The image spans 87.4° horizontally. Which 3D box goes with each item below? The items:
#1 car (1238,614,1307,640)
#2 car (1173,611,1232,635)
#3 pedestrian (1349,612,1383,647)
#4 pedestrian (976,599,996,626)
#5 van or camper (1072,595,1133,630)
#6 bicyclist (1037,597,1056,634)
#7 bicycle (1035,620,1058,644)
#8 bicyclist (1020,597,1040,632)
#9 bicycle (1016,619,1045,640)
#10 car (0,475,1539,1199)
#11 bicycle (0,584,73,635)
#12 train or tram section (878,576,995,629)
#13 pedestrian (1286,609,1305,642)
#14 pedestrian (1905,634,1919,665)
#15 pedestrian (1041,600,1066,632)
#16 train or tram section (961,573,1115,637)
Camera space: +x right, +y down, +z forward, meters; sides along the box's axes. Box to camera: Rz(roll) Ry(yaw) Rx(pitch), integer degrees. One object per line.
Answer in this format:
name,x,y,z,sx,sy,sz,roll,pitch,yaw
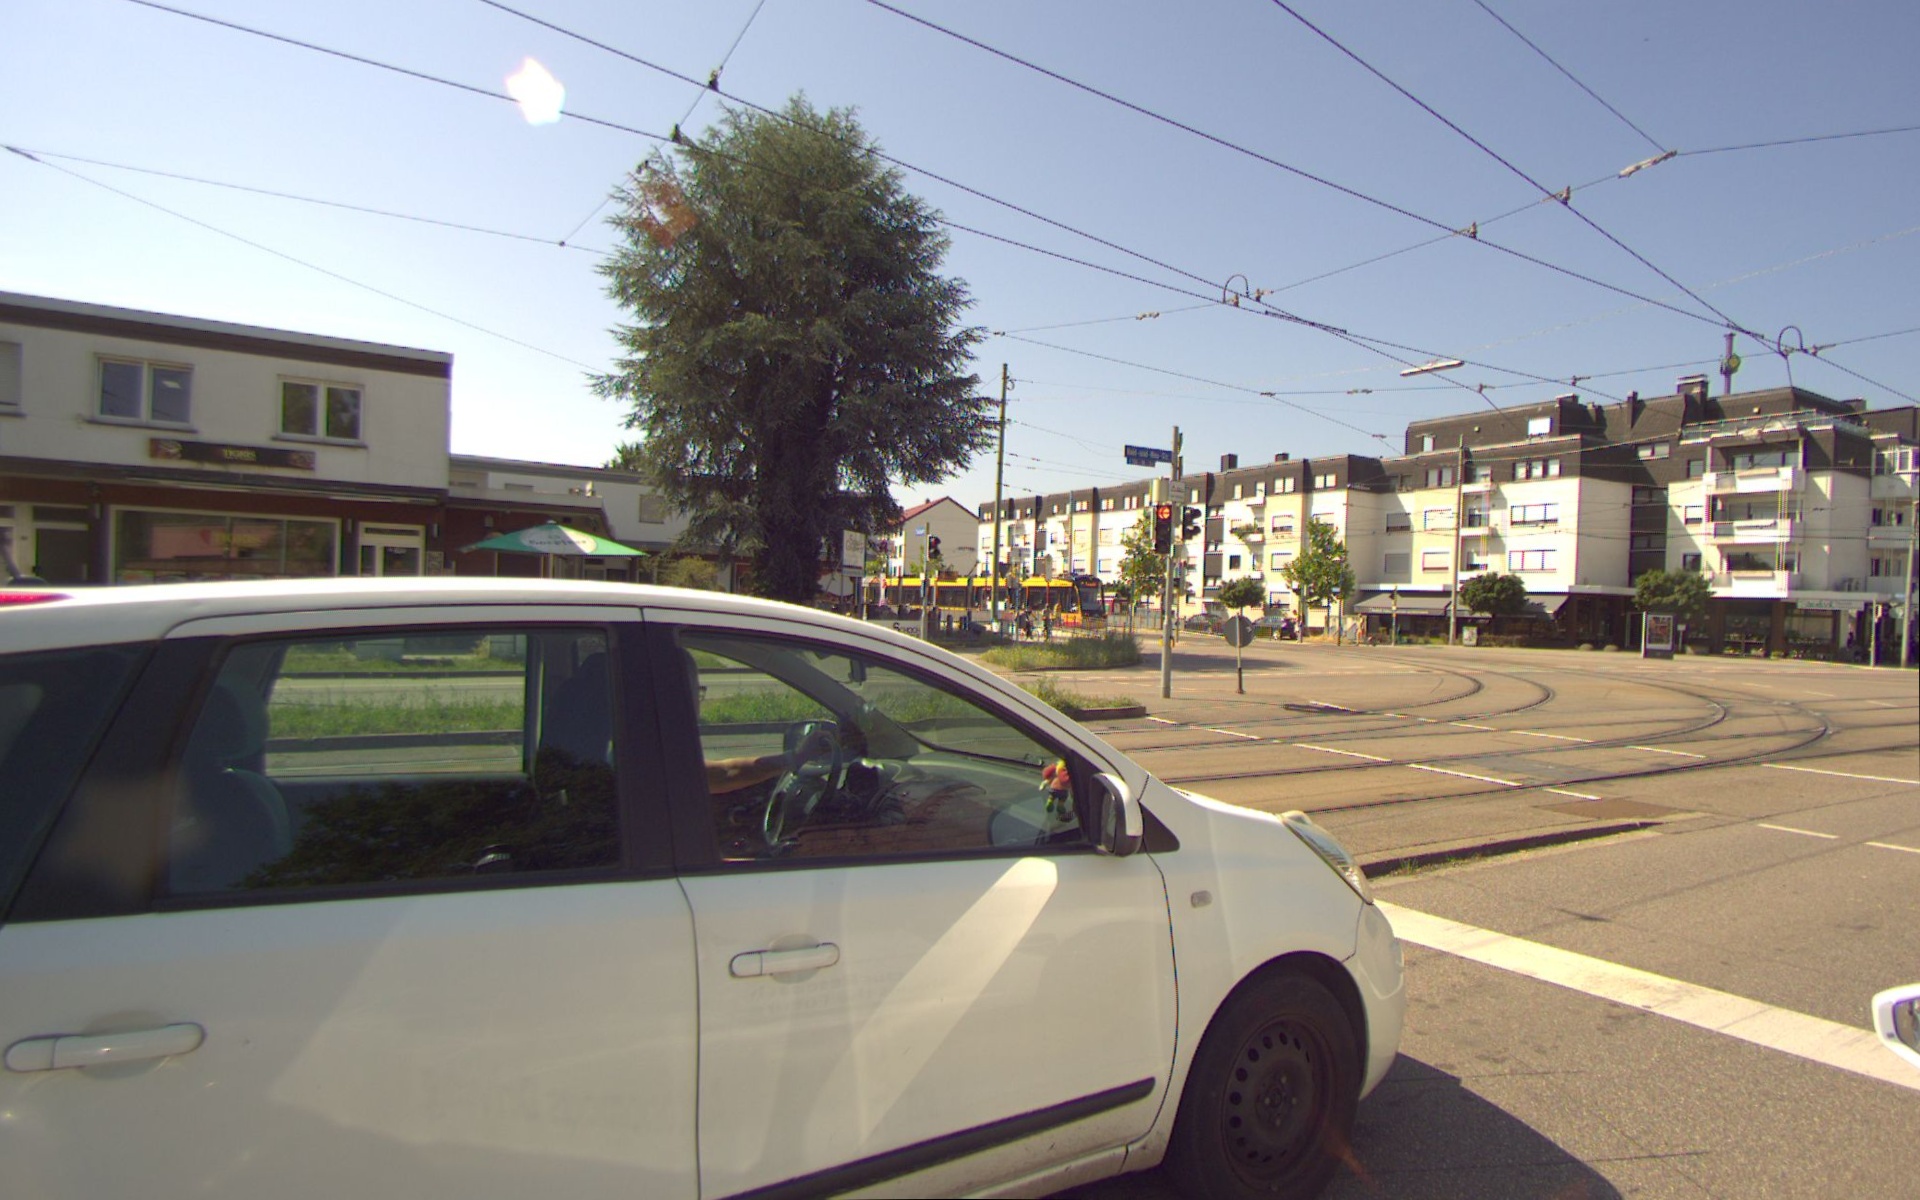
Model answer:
car,20.369,1.720,65.558,1.807,1.520,4.152,2,0,-30
car,17.094,1.588,70.884,1.807,1.520,3.967,2,0,-30
pedestrian,22.370,1.619,55.398,1.410,1.860,1.123,2,0,4
pedestrian,1.684,0.796,65.449,0.804,1.703,1.085,2,0,-30
van or camper,11.412,0.949,80.808,2.349,2.659,4.850,2,0,-31
bicyclist,3.725,0.677,43.211,0.620,1.579,0.765,2,-1,-9
bicycle,3.721,1.370,43.428,0.526,0.959,2.134,2,0,-7
bicyclist,3.226,0.680,46.489,0.623,1.595,0.762,2,0,-22
bicycle,3.247,1.357,46.380,0.567,0.902,2.128,2,0,-18
car,-0.513,0.689,2.616,4.019,1.581,1.758,2,-1,-30
bicycle,-19.187,0.180,20.199,1.889,0.996,0.754,2,0,-30
train or tram section,-2.101,0.126,77.863,2.736,3.706,13.797,2,0,-30
pedestrian,18.579,1.391,55.685,0.797,1.783,0.762,2,0,32
pedestrian,52.816,2.724,55.338,0.667,1.669,0.881,2,0,10
pedestrian,5.426,0.926,58.357,0.886,1.862,1.192,2,0,-30
train or tram section,4.718,0.248,65.840,2.736,3.706,13.797,2,0,-30
